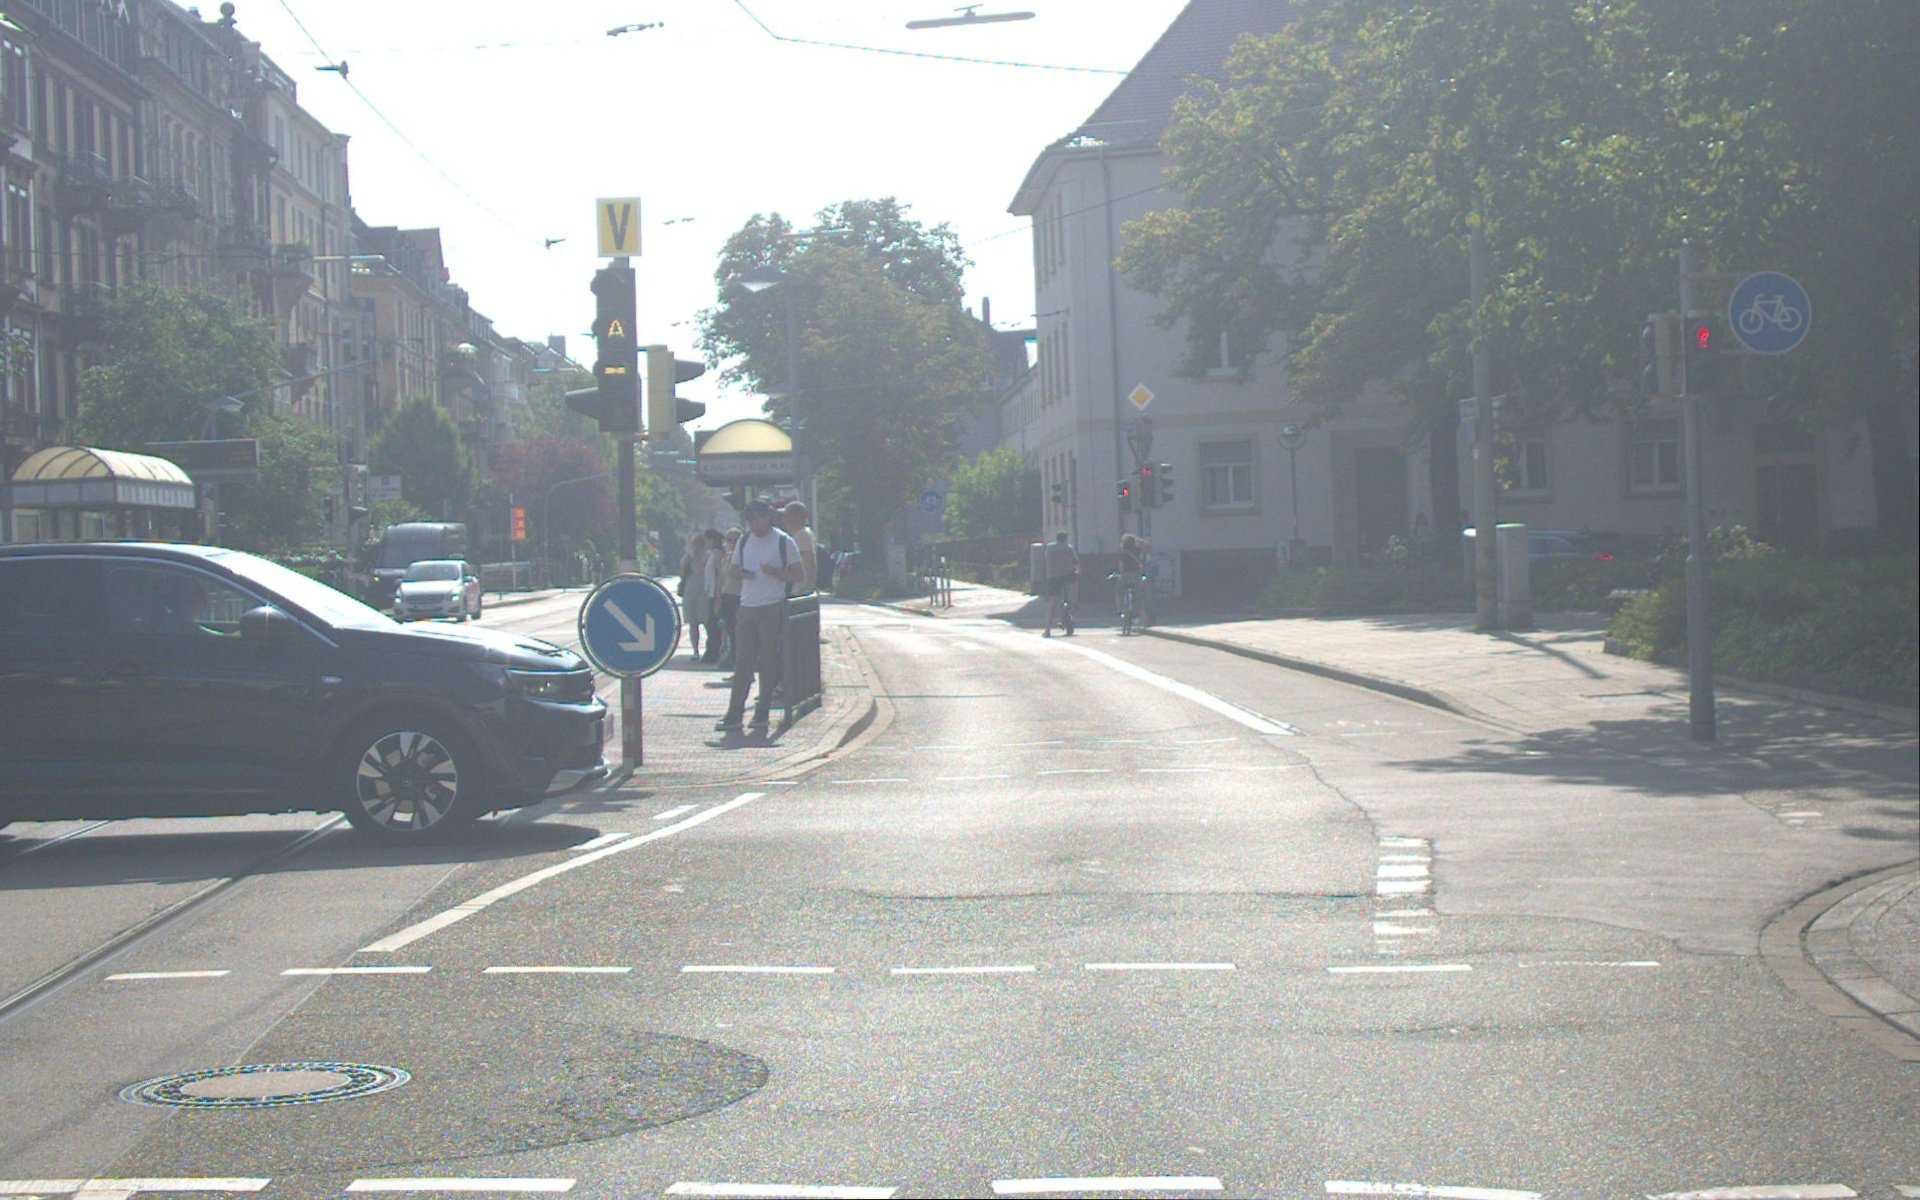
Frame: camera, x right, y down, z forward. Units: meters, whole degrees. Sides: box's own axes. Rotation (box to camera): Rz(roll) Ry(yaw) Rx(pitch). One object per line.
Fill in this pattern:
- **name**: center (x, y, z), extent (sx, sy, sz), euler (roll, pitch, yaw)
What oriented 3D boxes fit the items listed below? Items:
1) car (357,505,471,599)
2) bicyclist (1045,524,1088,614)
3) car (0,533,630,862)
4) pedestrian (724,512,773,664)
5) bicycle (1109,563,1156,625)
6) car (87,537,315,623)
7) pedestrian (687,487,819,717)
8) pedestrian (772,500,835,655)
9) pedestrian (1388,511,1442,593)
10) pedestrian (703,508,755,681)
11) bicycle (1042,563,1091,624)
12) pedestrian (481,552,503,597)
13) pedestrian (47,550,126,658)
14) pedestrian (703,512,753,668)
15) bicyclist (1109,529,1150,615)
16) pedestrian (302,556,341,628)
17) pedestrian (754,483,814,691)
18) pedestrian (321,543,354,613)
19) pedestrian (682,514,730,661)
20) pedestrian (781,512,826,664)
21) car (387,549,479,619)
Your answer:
- **car**: center (-16.201, -1.448, 102.322), extent (2.347, 2.653, 5.105), euler (-2, 1, 2)
- **bicyclist**: center (1.802, -0.527, 58.177), extent (0.629, 1.502, 0.679), euler (-2, 1, -3)
- **car**: center (-3.913, 0.489, 17.826), extent (4.214, 1.510, 1.612), euler (-2, 2, 0)
- **pedestrian**: center (-2.480, -0.142, 40.356), extent (0.543, 1.753, 0.534), euler (1, 3, -2)
- **bicycle**: center (2.882, -0.109, 57.677), extent (0.558, 0.974, 1.856), euler (-2, 1, -3)
- **car**: center (-15.267, -0.406, 69.086), extent (4.321, 1.564, 2.001), euler (-2, 1, -16)
- **pedestrian**: center (-1.598, -0.001, 26.585), extent (0.701, 1.719, 0.747), euler (3, 4, 31)
- **pedestrian**: center (-1.808, -0.262, 39.748), extent (0.709, 1.753, 0.534), euler (1, 3, -2)
- **pedestrian**: center (9.796, -1.042, 74.040), extent (0.892, 1.734, 0.775), euler (-1, 1, 28)
- **pedestrian**: center (-2.389, -0.065, 35.540), extent (0.504, 1.753, 0.534), euler (1, 3, -2)
- **bicycle**: center (1.803, -0.114, 58.283), extent (0.629, 0.974, 1.770), euler (-2, 1, -3)
- **pedestrian**: center (-17.953, -0.976, 131.932), extent (0.750, 1.725, 0.772), euler (-2, 1, -11)
- **pedestrian**: center (-11.169, 0.045, 43.989), extent (0.827, 1.354, 0.776), euler (-2, 1, -6)
- **pedestrian**: center (-2.664, -0.120, 39.544), extent (0.543, 1.753, 0.534), euler (1, 3, -2)
- **bicyclist**: center (2.853, -0.473, 57.855), extent (0.558, 1.412, 0.872), euler (-2, 1, -3)
- **pedestrian**: center (-15.542, -0.193, 83.743), extent (0.750, 1.725, 0.771), euler (-2, 1, 0)
- **pedestrian**: center (-1.578, -0.123, 30.851), extent (0.504, 1.827, 0.534), euler (1, 3, -2)
- **pedestrian**: center (-15.687, -0.564, 86.585), extent (0.750, 1.725, 0.772), euler (-2, 1, -11)
- **pedestrian**: center (-3.089, -0.158, 41.762), extent (0.532, 1.753, 0.545), euler (1, 3, 0)
- **pedestrian**: center (-1.838, -0.146, 40.368), extent (0.504, 1.753, 0.534), euler (1, 3, -2)
- **car**: center (-13.349, -0.425, 87.250), extent (1.801, 1.648, 3.643), euler (-2, 1, -1)
